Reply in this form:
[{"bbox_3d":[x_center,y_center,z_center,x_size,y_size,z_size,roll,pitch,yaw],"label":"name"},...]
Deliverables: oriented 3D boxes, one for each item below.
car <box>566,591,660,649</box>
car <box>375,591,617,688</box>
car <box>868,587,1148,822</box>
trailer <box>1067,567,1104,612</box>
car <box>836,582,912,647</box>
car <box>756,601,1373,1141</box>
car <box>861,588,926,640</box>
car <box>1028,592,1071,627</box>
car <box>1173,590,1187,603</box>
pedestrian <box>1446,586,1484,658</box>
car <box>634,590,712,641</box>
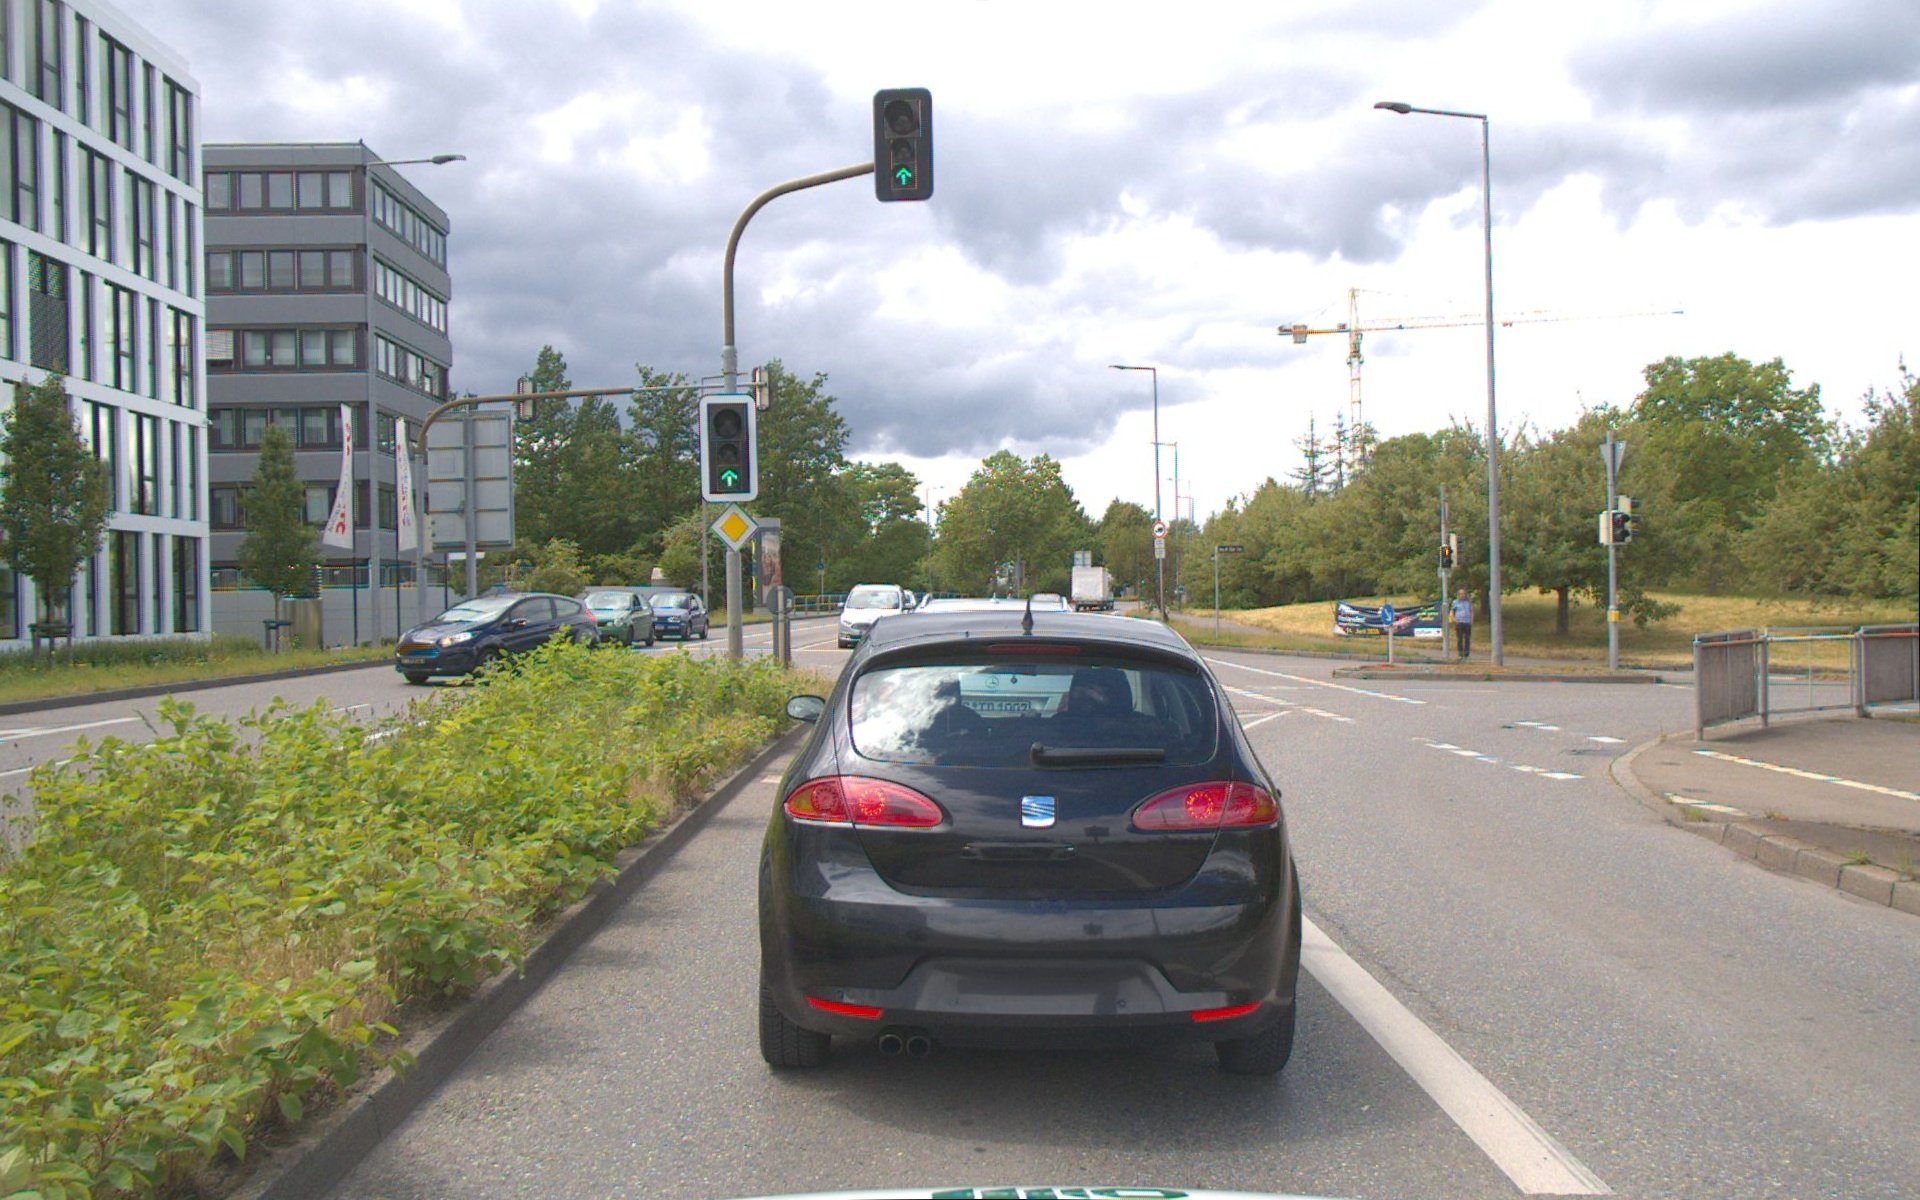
[{"bbox_3d":[-9.018,0.491,43.236,1.572,1.457,3.753,0,0,1],"label":"car"},{"bbox_3d":[-7.665,0.628,27.676,1.720,1.471,3.887,1,0,27],"label":"car"},{"bbox_3d":[0.325,0.686,12.614,1.797,1.493,3.751,1,0,0],"label":"car"},{"bbox_3d":[9.149,-0.729,119.856,2.438,3.127,5.590,1,0,6],"label":"trailer"},{"bbox_3d":[-2.340,0.357,46.181,1.783,1.716,4.646,1,1,1],"label":"car"},{"bbox_3d":[0.271,0.747,6.261,1.676,1.442,3.459,1,0,-1],"label":"car"},{"bbox_3d":[-2.058,0.411,52.153,1.625,1.545,4.086,1,1,3],"label":"car"},{"bbox_3d":[4.241,0.430,78.687,1.952,1.593,4.472,0,0,3],"label":"car"},{"bbox_3d":[28.968,-0.425,217.704,1.631,1.624,4.003,1,0,9],"label":"car"},{"bbox_3d":[13.021,0.557,42.677,0.703,1.824,1.044,1,-1,3],"label":"pedestrian"},{"bbox_3d":[-8.654,0.449,50.145,1.521,1.444,3.897,1,1,3],"label":"car"}]
